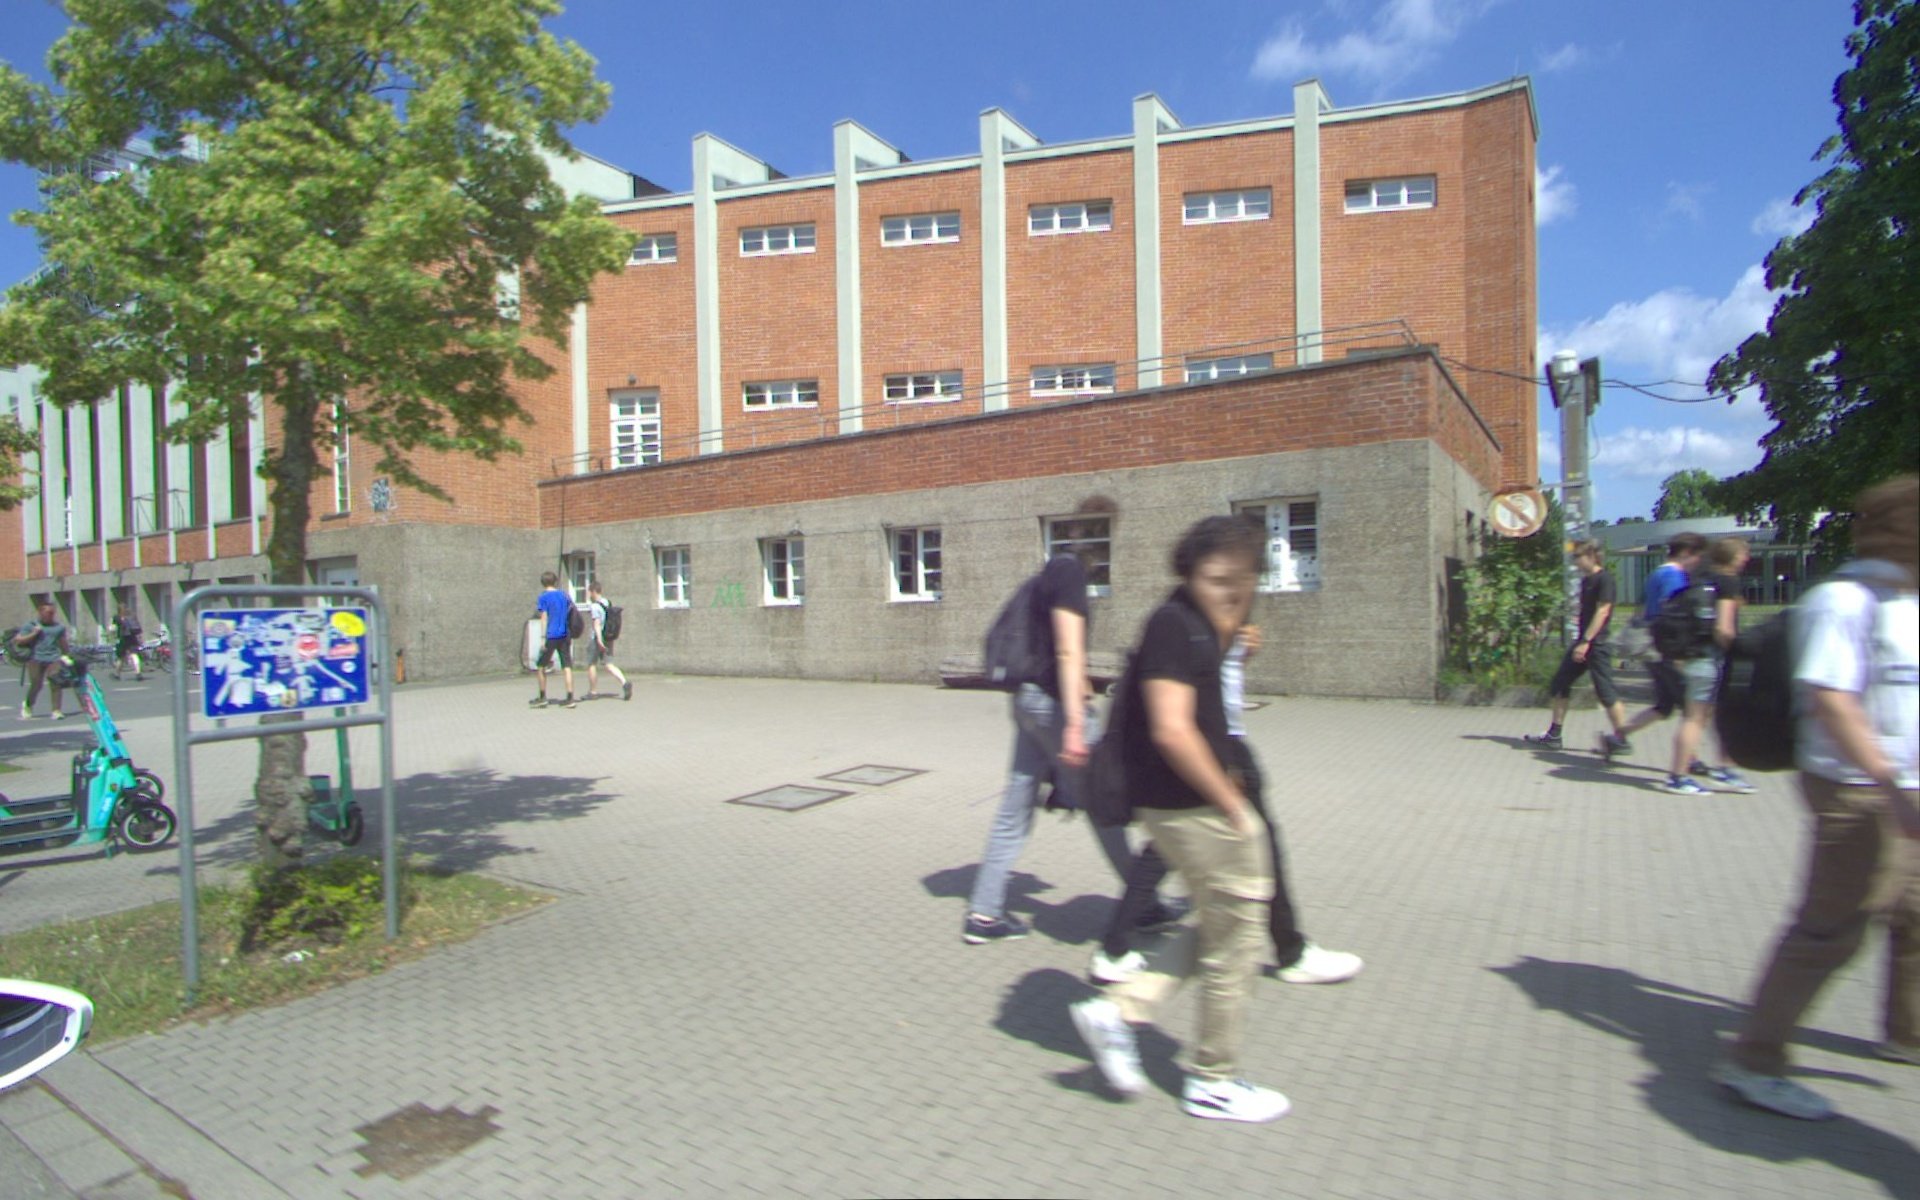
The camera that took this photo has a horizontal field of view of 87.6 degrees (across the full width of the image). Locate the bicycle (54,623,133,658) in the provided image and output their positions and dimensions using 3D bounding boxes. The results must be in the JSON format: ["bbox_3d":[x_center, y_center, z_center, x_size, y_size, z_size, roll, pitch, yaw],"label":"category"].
[{"bbox_3d":[-27.755,1.283,32.107,0.552,0.998,1.804,0,2,33],"label":"bicycle"}]

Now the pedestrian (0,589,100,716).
[{"bbox_3d":[-13.399,0.737,14.663,1.144,1.757,0.850,0,3,33],"label":"pedestrian"}]

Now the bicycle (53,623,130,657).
[{"bbox_3d":[-28.282,1.289,32.633,0.552,0.998,1.804,0,2,33],"label":"bicycle"}]

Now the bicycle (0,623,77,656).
[{"bbox_3d":[-31.318,1.340,34.056,0.552,0.998,1.804,0,2,33],"label":"bicycle"}]

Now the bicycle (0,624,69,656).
[{"bbox_3d":[-31.905,1.351,34.430,0.552,0.998,1.804,0,2,33],"label":"bicycle"}]

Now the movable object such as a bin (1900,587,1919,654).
[{"bbox_3d":[19.614,0.411,20.243,0.757,1.338,0.780,1,0,34],"label":"movable object such as a bin"}]

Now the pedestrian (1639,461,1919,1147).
[{"bbox_3d":[2.547,0.521,2.881,0.894,1.763,0.675,0,2,27],"label":"pedestrian"}]

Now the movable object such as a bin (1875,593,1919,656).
[{"bbox_3d":[20.334,0.524,21.601,0.757,1.338,0.780,1,0,34],"label":"movable object such as a bin"}]

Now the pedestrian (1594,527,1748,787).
[{"bbox_3d":[5.252,0.411,7.446,0.740,1.811,0.708,-2,0,22],"label":"pedestrian"}]

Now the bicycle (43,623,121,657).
[{"bbox_3d":[-28.812,1.286,32.892,0.552,0.998,1.804,0,2,33],"label":"bicycle"}]

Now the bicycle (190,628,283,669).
[{"bbox_3d":[-18.277,1.209,25.319,0.552,0.924,1.804,0,1,33],"label":"bicycle"}]

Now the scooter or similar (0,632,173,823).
[{"bbox_3d":[-6.614,0.899,7.288,1.244,1.282,0.637,-1,1,-25],"label":"scooter or similar"}]

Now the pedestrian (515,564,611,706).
[{"bbox_3d":[-5.524,0.473,13.953,0.976,1.918,0.701,0,2,21],"label":"pedestrian"}]

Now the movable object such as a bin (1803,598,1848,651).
[{"bbox_3d":[22.146,0.622,25.634,0.757,1.338,0.780,1,0,34],"label":"movable object such as a bin"}]

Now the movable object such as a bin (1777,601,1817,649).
[{"bbox_3d":[23.815,0.693,28.503,0.757,1.338,0.780,1,0,34],"label":"movable object such as a bin"}]

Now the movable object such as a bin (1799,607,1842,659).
[{"bbox_3d":[22.869,0.867,26.630,0.757,1.338,0.780,1,0,34],"label":"movable object such as a bin"}]

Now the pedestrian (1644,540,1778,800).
[{"bbox_3d":[4.999,0.455,6.693,0.561,1.652,0.501,-2,0,22],"label":"pedestrian"}]

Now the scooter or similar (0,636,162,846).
[{"bbox_3d":[-6.128,0.903,6.569,1.244,1.282,0.648,-1,1,-25],"label":"scooter or similar"}]

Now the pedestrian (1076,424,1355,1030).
[{"bbox_3d":[0.890,0.437,3.662,0.813,2.006,0.618,-2,1,2],"label":"pedestrian"}]

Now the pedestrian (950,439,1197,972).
[{"bbox_3d":[0.456,0.405,4.233,0.814,2.006,0.690,0,0,-19],"label":"pedestrian"}]

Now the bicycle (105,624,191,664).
[{"bbox_3d":[-23.178,1.238,28.606,0.552,0.998,1.804,0,2,33],"label":"bicycle"}]

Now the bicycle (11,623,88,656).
[{"bbox_3d":[-30.592,1.327,33.673,0.552,0.998,1.804,0,2,33],"label":"bicycle"}]

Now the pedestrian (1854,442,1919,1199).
[{"bbox_3d":[2.535,0.533,1.987,0.966,1.762,0.699,-3,1,-15],"label":"pedestrian"}]

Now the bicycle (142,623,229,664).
[{"bbox_3d":[-21.522,1.189,27.868,0.552,0.998,1.804,0,2,33],"label":"bicycle"}]

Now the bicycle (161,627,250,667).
[{"bbox_3d":[-20.062,1.228,26.662,0.552,0.924,1.804,0,2,33],"label":"bicycle"}]

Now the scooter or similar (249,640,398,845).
[{"bbox_3d":[-4.241,0.876,6.646,0.643,1.176,1.253,-2,1,-41],"label":"scooter or similar"}]

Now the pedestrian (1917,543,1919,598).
[{"bbox_3d":[11.480,0.267,11.415,0.724,1.907,0.828,-4,1,43],"label":"pedestrian"}]

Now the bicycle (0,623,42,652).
[{"bbox_3d":[-34.598,1.383,36.310,0.552,0.998,1.804,0,2,33],"label":"bicycle"}]

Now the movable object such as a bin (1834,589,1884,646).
[{"bbox_3d":[21.448,0.405,23.910,0.757,1.338,0.780,1,0,34],"label":"movable object such as a bin"}]

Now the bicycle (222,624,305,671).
[{"bbox_3d":[-16.775,1.133,24.135,0.552,1.047,1.531,0,1,33],"label":"bicycle"}]

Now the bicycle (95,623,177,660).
[{"bbox_3d":[-24.764,1.239,30.126,0.552,0.998,1.804,0,2,33],"label":"bicycle"}]

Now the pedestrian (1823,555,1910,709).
[{"bbox_3d":[10.836,0.370,11.989,0.723,1.762,0.828,-2,1,42],"label":"pedestrian"}]

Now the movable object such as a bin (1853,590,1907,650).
[{"bbox_3d":[20.737,0.441,22.588,0.757,1.338,0.780,1,0,34],"label":"movable object such as a bin"}]

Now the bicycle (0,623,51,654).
[{"bbox_3d":[-33.777,1.379,35.778,0.552,0.998,1.804,0,2,33],"label":"bicycle"}]

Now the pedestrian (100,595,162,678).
[{"bbox_3d":[-19.348,0.837,23.365,1.101,1.885,0.788,0,1,33],"label":"pedestrian"}]

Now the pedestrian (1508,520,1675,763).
[{"bbox_3d":[5.224,0.324,8.359,1.058,1.893,0.760,-1,2,23],"label":"pedestrian"}]

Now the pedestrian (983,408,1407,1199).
[{"bbox_3d":[0.584,0.484,2.739,0.790,1.796,0.852,0,0,-19],"label":"pedestrian"}]

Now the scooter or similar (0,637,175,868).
[{"bbox_3d":[-5.591,0.888,5.998,1.244,1.282,0.648,-1,1,-25],"label":"scooter or similar"}]

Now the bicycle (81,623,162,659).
[{"bbox_3d":[-25.747,1.245,30.766,0.552,0.998,1.804,0,2,33],"label":"bicycle"}]

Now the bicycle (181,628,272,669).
[{"bbox_3d":[-18.901,1.226,25.835,0.552,0.924,1.804,0,1,33],"label":"bicycle"}]

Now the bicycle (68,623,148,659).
[{"bbox_3d":[-26.752,1.266,31.457,0.552,0.998,1.804,0,2,33],"label":"bicycle"}]

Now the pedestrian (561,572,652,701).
[{"bbox_3d":[-5.227,0.519,14.818,0.977,1.829,0.701,0,4,21],"label":"pedestrian"}]

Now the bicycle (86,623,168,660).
[{"bbox_3d":[-25.276,1.244,30.429,0.552,0.998,1.804,0,2,33],"label":"bicycle"}]
